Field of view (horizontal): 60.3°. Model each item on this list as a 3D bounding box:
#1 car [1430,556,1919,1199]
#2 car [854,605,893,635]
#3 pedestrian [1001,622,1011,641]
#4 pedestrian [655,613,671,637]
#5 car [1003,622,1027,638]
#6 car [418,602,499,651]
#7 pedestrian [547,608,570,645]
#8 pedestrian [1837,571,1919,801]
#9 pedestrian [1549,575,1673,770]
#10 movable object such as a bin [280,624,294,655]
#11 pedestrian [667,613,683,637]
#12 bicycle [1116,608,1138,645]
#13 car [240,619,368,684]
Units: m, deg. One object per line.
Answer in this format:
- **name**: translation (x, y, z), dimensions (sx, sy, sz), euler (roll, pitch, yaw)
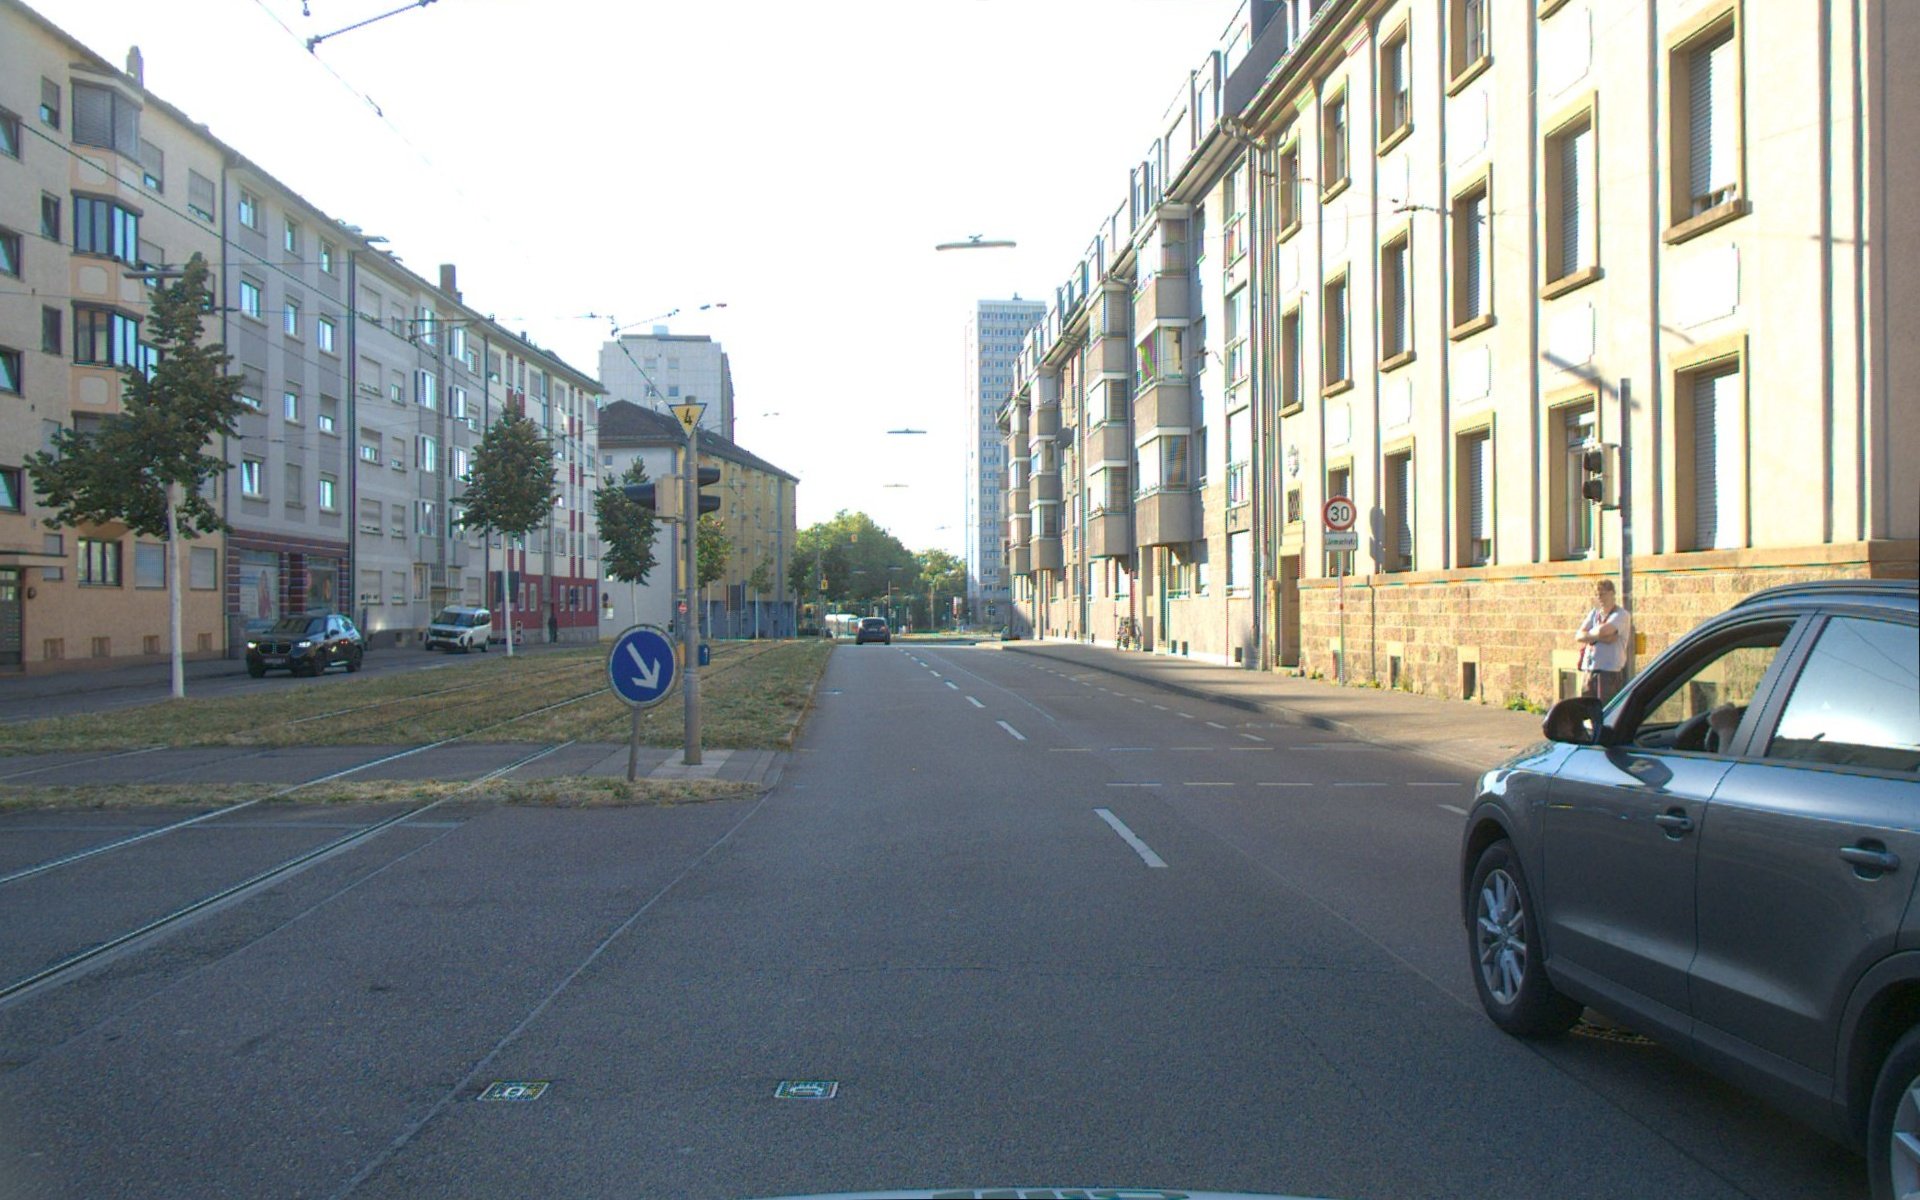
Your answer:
- **car**: translation (2.841, 0.704, 4.623), dimensions (1.664, 1.580, 4.222), euler (0, -1, -3)
- **car**: translation (-4.544, 1.047, 87.191), dimensions (1.887, 1.481, 4.326), euler (-1, 0, -1)
- **pedestrian**: translation (3.033, 2.064, 109.053), dimensions (0.677, 1.256, 0.736), euler (0, -1, 1)
- **pedestrian**: translation (-21.626, 1.825, 120.546), dimensions (0.942, 1.724, 1.011), euler (0, -1, 2)
- **car**: translation (5.440, 2.962, 162.489), dimensions (1.951, 1.591, 4.003), euler (0, -1, 8)
- **car**: translation (-20.961, 1.119, 69.305), dimensions (1.953, 1.959, 4.541), euler (1, -1, 0)
- **pedestrian**: translation (-22.613, 1.506, 93.167), dimensions (0.984, 2.071, 0.886), euler (0, -1, 3)
- **pedestrian**: translation (7.605, 0.676, 13.323), dimensions (0.617, 1.789, 0.825), euler (1, -1, -4)
- **pedestrian**: translation (6.149, 0.675, 15.655), dimensions (0.819, 1.793, 0.823), euler (1, -1, -4)
- **movable object such as a bin**: translation (-22.674, 1.333, 55.717), dimensions (0.292, 1.055, 0.441), euler (1, -1, -5)
- **pedestrian**: translation (-20.821, 1.834, 120.820), dimensions (0.942, 1.699, 1.011), euler (0, -1, 2)
- **bicycle**: translation (5.197, 0.819, 51.473), dimensions (0.376, 1.115, 1.502), euler (-1, -1, -5)
- **car**: translation (-18.207, 1.382, 46.140), dimensions (1.859, 1.662, 4.744), euler (-1, 0, -3)
